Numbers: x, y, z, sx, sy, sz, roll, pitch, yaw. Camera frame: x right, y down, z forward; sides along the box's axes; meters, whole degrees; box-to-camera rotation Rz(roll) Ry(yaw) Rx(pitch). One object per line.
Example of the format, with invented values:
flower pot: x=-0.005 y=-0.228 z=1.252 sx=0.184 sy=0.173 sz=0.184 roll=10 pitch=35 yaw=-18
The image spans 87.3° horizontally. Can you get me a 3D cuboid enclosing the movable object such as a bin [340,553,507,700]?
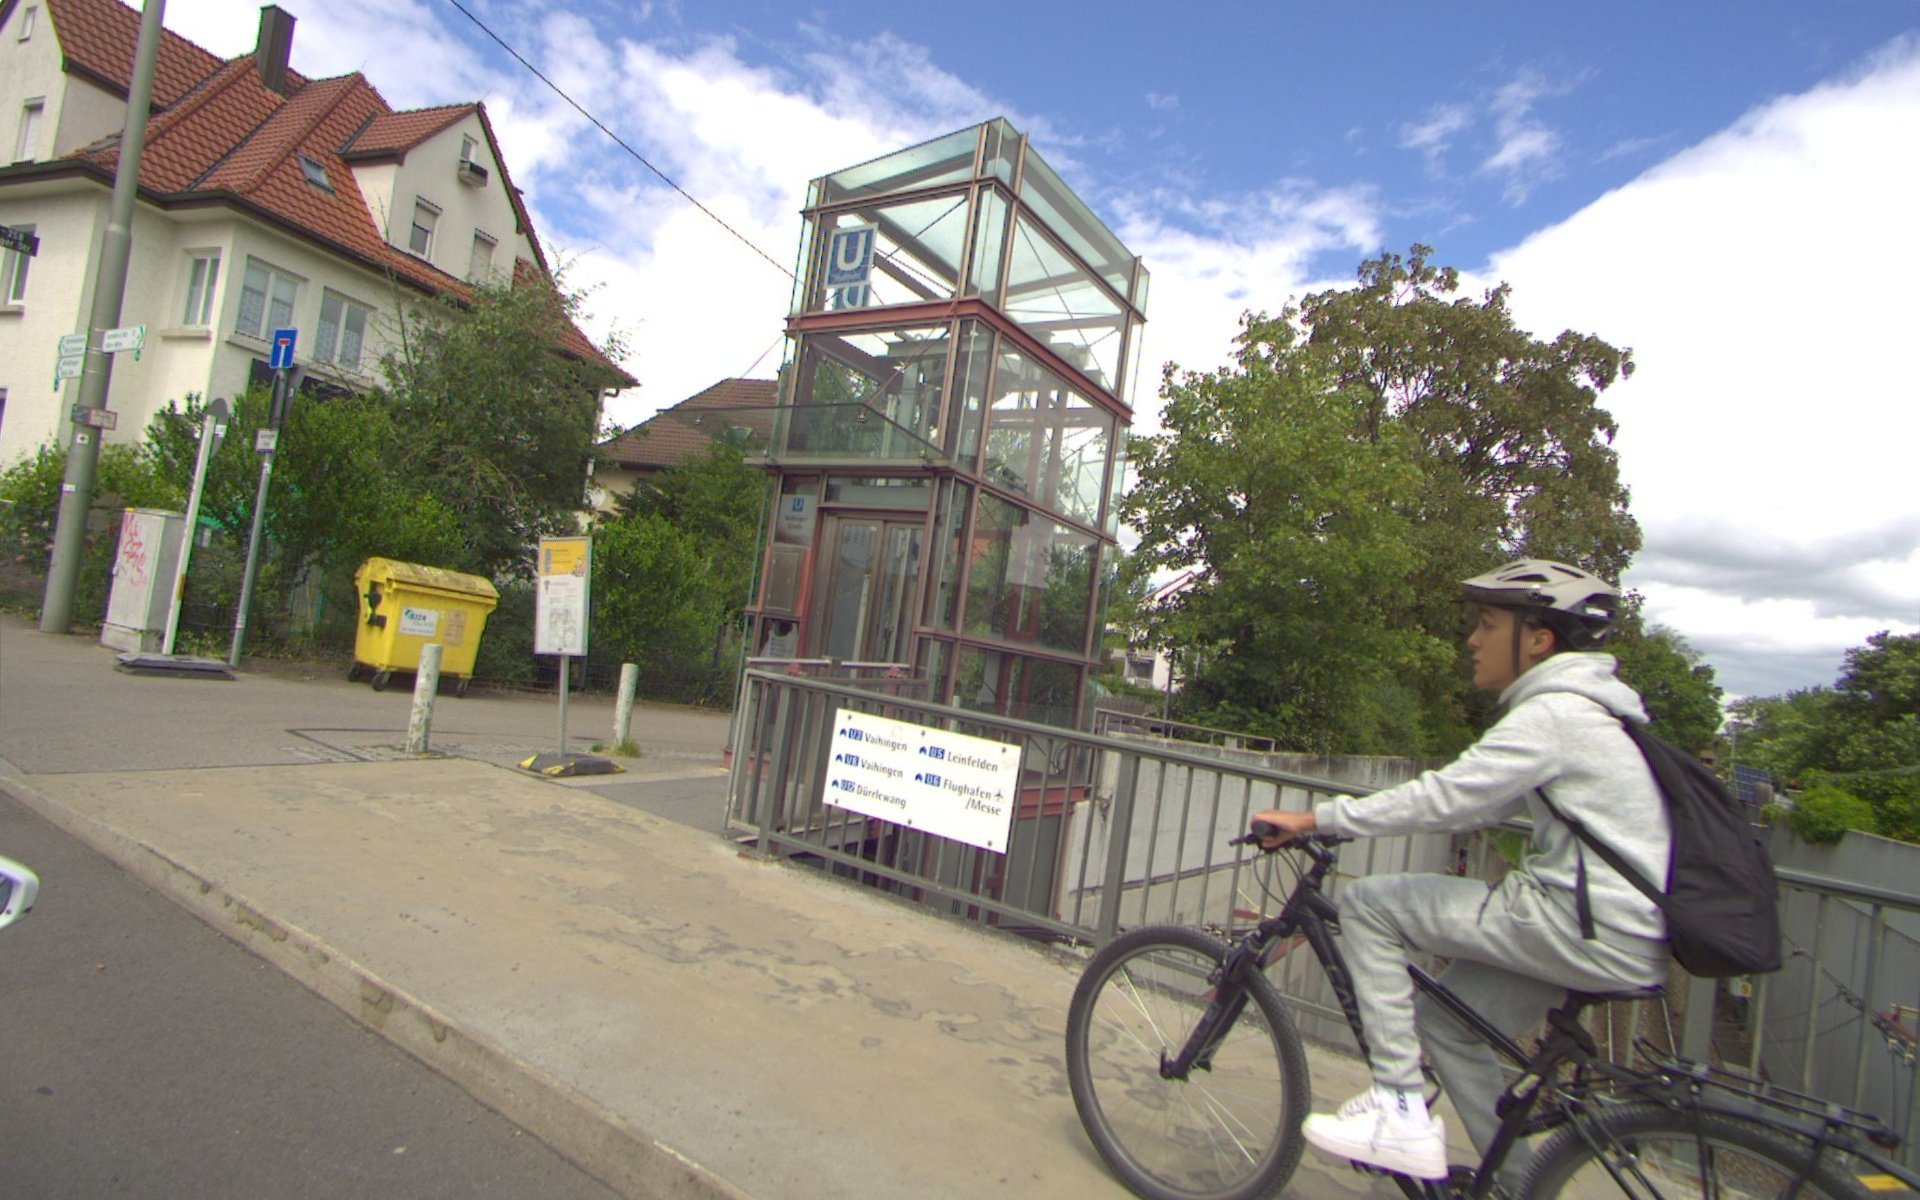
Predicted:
movable object such as a bin: x=-6.262 y=0.320 z=11.777 sx=0.990 sy=1.486 sz=1.269 roll=6 pitch=-4 yaw=40

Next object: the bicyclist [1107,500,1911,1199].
bicyclist: x=1.077 y=0.591 z=2.156 sx=1.159 sy=1.431 sz=0.657 roll=8 pitch=-2 yaw=33

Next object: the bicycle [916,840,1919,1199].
bicycle: x=0.956 y=1.164 z=2.185 sx=2.029 sy=0.761 sz=0.637 roll=7 pitch=-3 yaw=33
